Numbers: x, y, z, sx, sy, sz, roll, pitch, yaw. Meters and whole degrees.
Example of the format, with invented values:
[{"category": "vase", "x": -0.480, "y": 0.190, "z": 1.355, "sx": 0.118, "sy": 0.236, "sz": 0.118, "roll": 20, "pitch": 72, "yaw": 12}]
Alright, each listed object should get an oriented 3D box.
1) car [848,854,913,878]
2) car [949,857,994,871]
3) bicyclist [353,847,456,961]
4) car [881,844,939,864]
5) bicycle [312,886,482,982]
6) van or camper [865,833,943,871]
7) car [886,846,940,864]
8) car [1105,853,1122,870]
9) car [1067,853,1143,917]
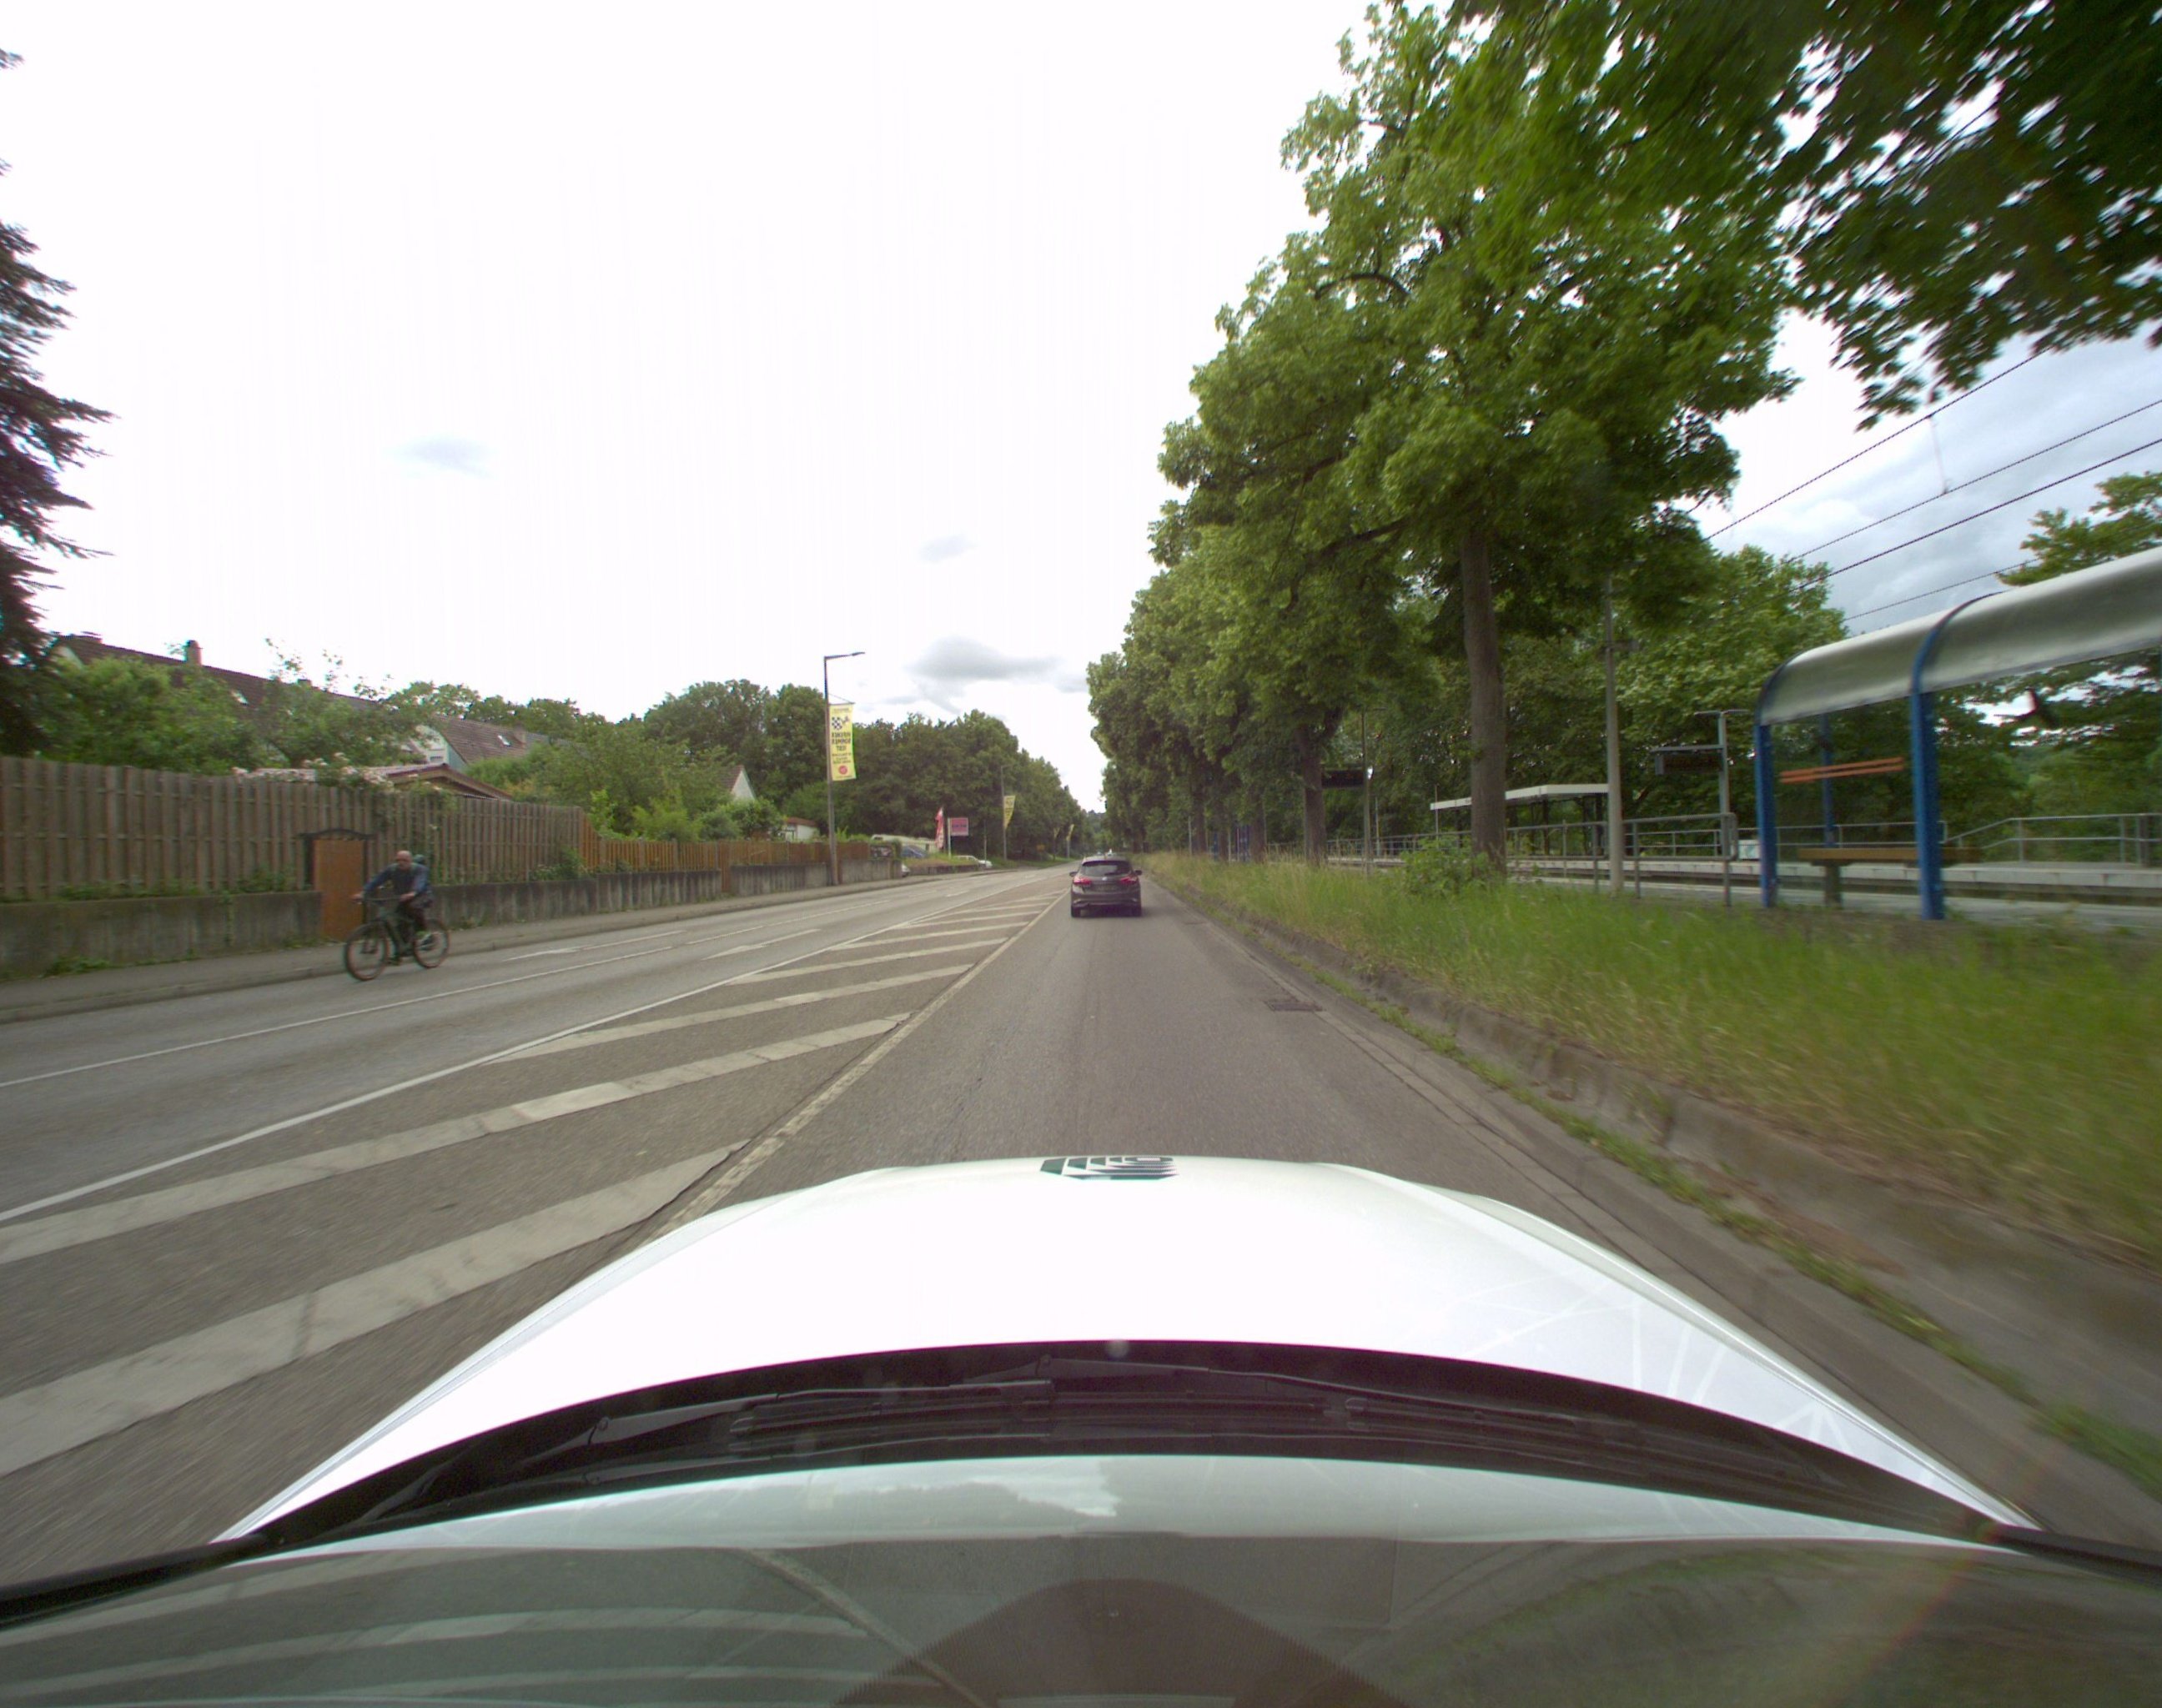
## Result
[{"category": "car", "x": -14.104, "y": 0.853, "z": 57.410, "sx": 3.970, "sy": 1.617, "sz": 2.001, "roll": 0, "pitch": -1, "yaw": 3}, {"category": "car", "x": -11.135, "y": 1.014, "z": 83.258, "sx": 4.361, "sy": 1.441, "sz": 1.961, "roll": 0, "pitch": 0, "yaw": -1}, {"category": "bicyclist", "x": -9.522, "y": 0.673, "z": 11.501, "sx": 0.640, "sy": 1.535, "sz": 0.978, "roll": 0, "pitch": 0, "yaw": -3}, {"category": "car", "x": -13.229, "y": 0.001, "z": 63.108, "sx": 3.966, "sy": 1.497, "sz": 1.862, "roll": 0, "pitch": -1, "yaw": 6}, {"category": "bicycle", "x": -9.525, "y": 1.068, "z": 11.475, "sx": 0.640, "sy": 1.145, "sz": 2.146, "roll": 0, "pitch": 0, "yaw": -2}, {"category": "van or camper", "x": -18.032, "y": -0.228, "z": 83.234, "sx": 7.114, "sy": 3.371, "sz": 2.798, "roll": 4, "pitch": 0, "yaw": 2}, {"category": "car", "x": -13.384, "y": 0.078, "z": 64.983, "sx": 3.966, "sy": 1.411, "sz": 1.536, "roll": 0, "pitch": -1, "yaw": 6}, {"category": "car", "x": 3.026, "y": 0.718, "z": 75.405, "sx": 1.496, "sy": 1.528, "sz": 3.675, "roll": 0, "pitch": 0, "yaw": 4}, {"category": "car", "x": 0.709, "y": 0.768, "z": 21.672, "sx": 1.829, "sy": 1.528, "sz": 3.933, "roll": -1, "pitch": 0, "yaw": 4}]
